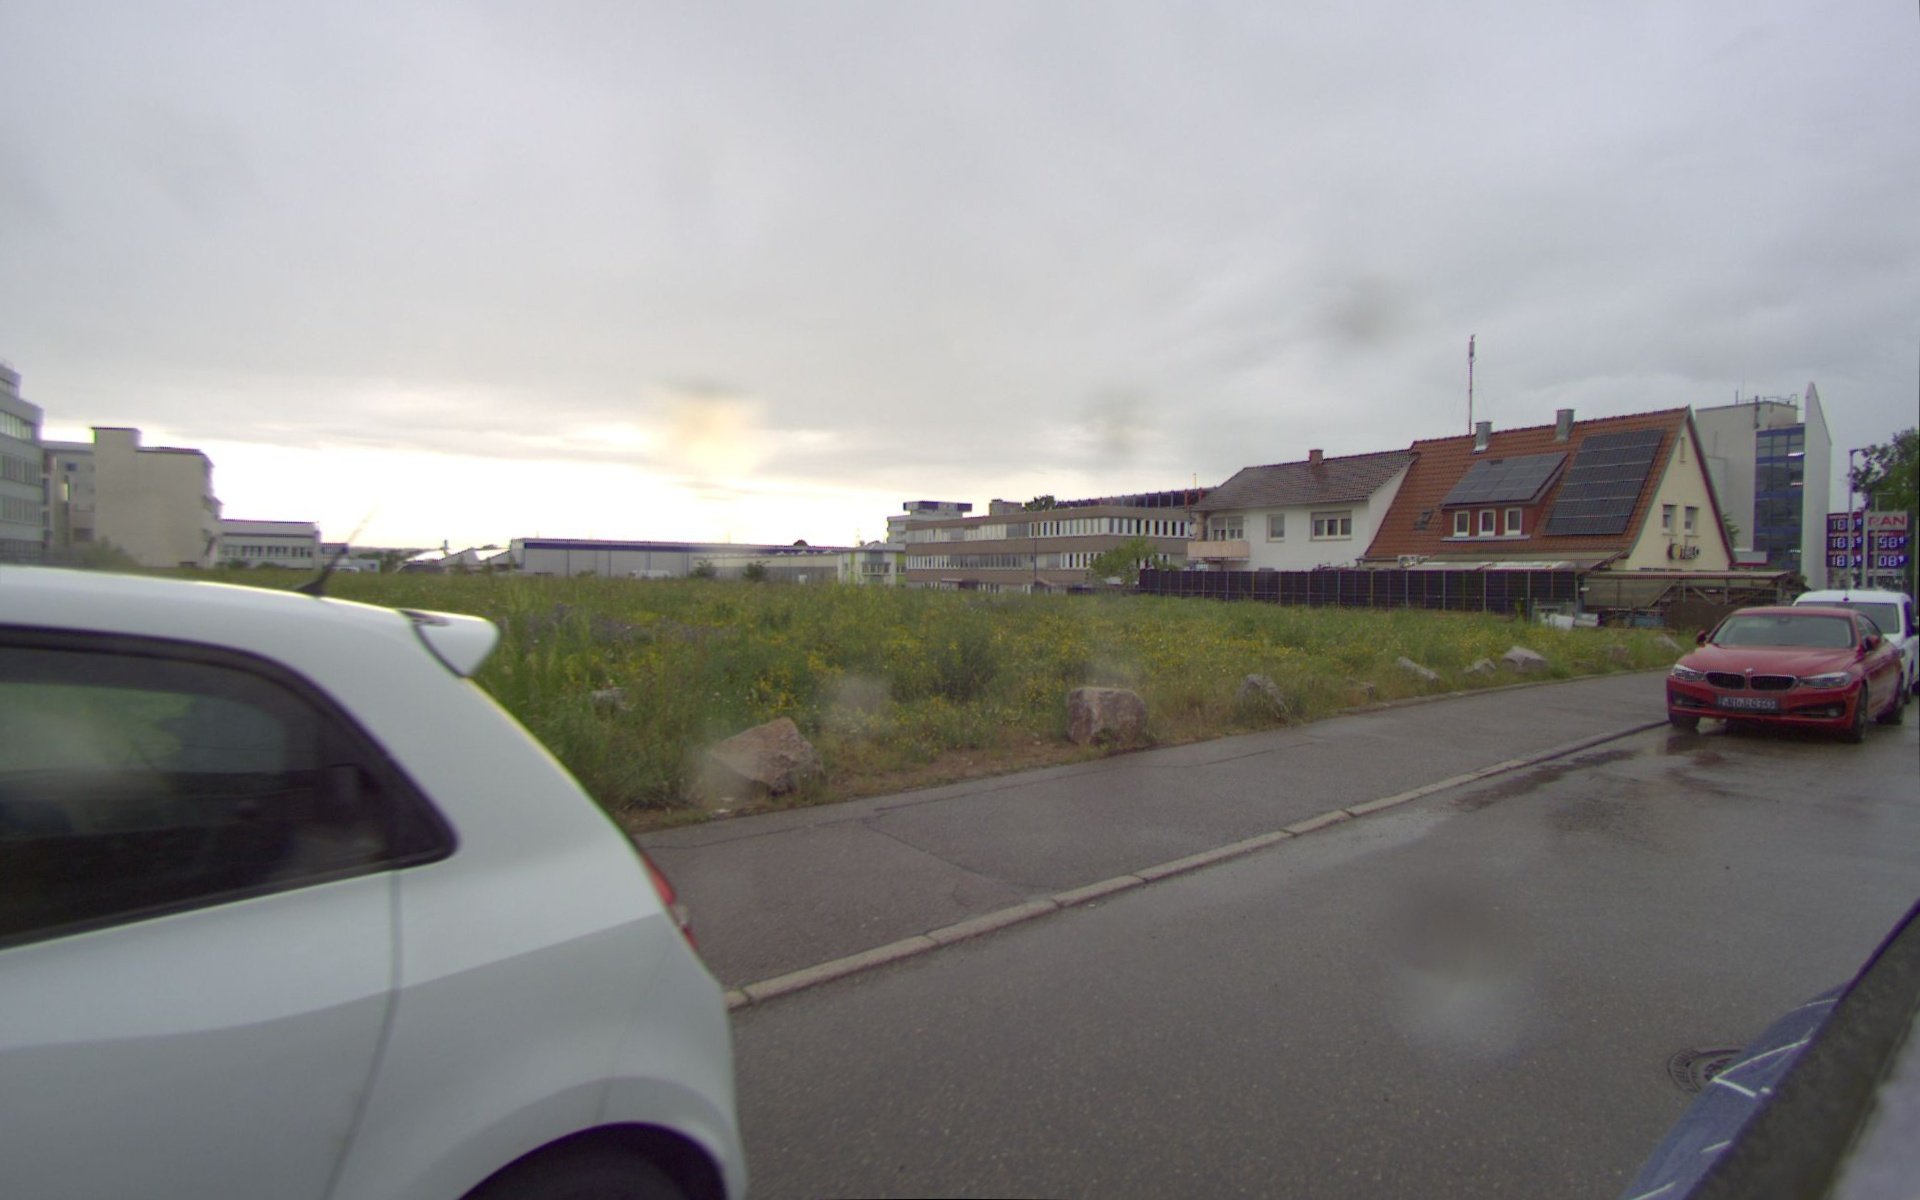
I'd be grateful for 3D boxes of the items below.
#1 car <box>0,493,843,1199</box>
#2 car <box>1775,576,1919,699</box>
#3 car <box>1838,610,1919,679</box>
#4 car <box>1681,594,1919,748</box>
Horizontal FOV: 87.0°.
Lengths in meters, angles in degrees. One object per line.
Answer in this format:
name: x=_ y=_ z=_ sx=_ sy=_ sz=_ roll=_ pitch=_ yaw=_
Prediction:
car: x=-2.096 y=0.679 z=1.212 sx=3.612 sy=1.577 sz=1.683 roll=0 pitch=0 yaw=-43
car: x=15.545 y=0.576 z=17.373 sx=4.496 sy=1.848 sz=1.770 roll=0 pitch=-1 yaw=-43
car: x=20.266 y=0.894 z=21.652 sx=4.247 sy=1.353 sz=1.770 roll=0 pitch=0 yaw=-43
car: x=10.644 y=0.747 z=12.616 sx=4.562 sy=1.595 sz=1.645 roll=0 pitch=-1 yaw=-41
